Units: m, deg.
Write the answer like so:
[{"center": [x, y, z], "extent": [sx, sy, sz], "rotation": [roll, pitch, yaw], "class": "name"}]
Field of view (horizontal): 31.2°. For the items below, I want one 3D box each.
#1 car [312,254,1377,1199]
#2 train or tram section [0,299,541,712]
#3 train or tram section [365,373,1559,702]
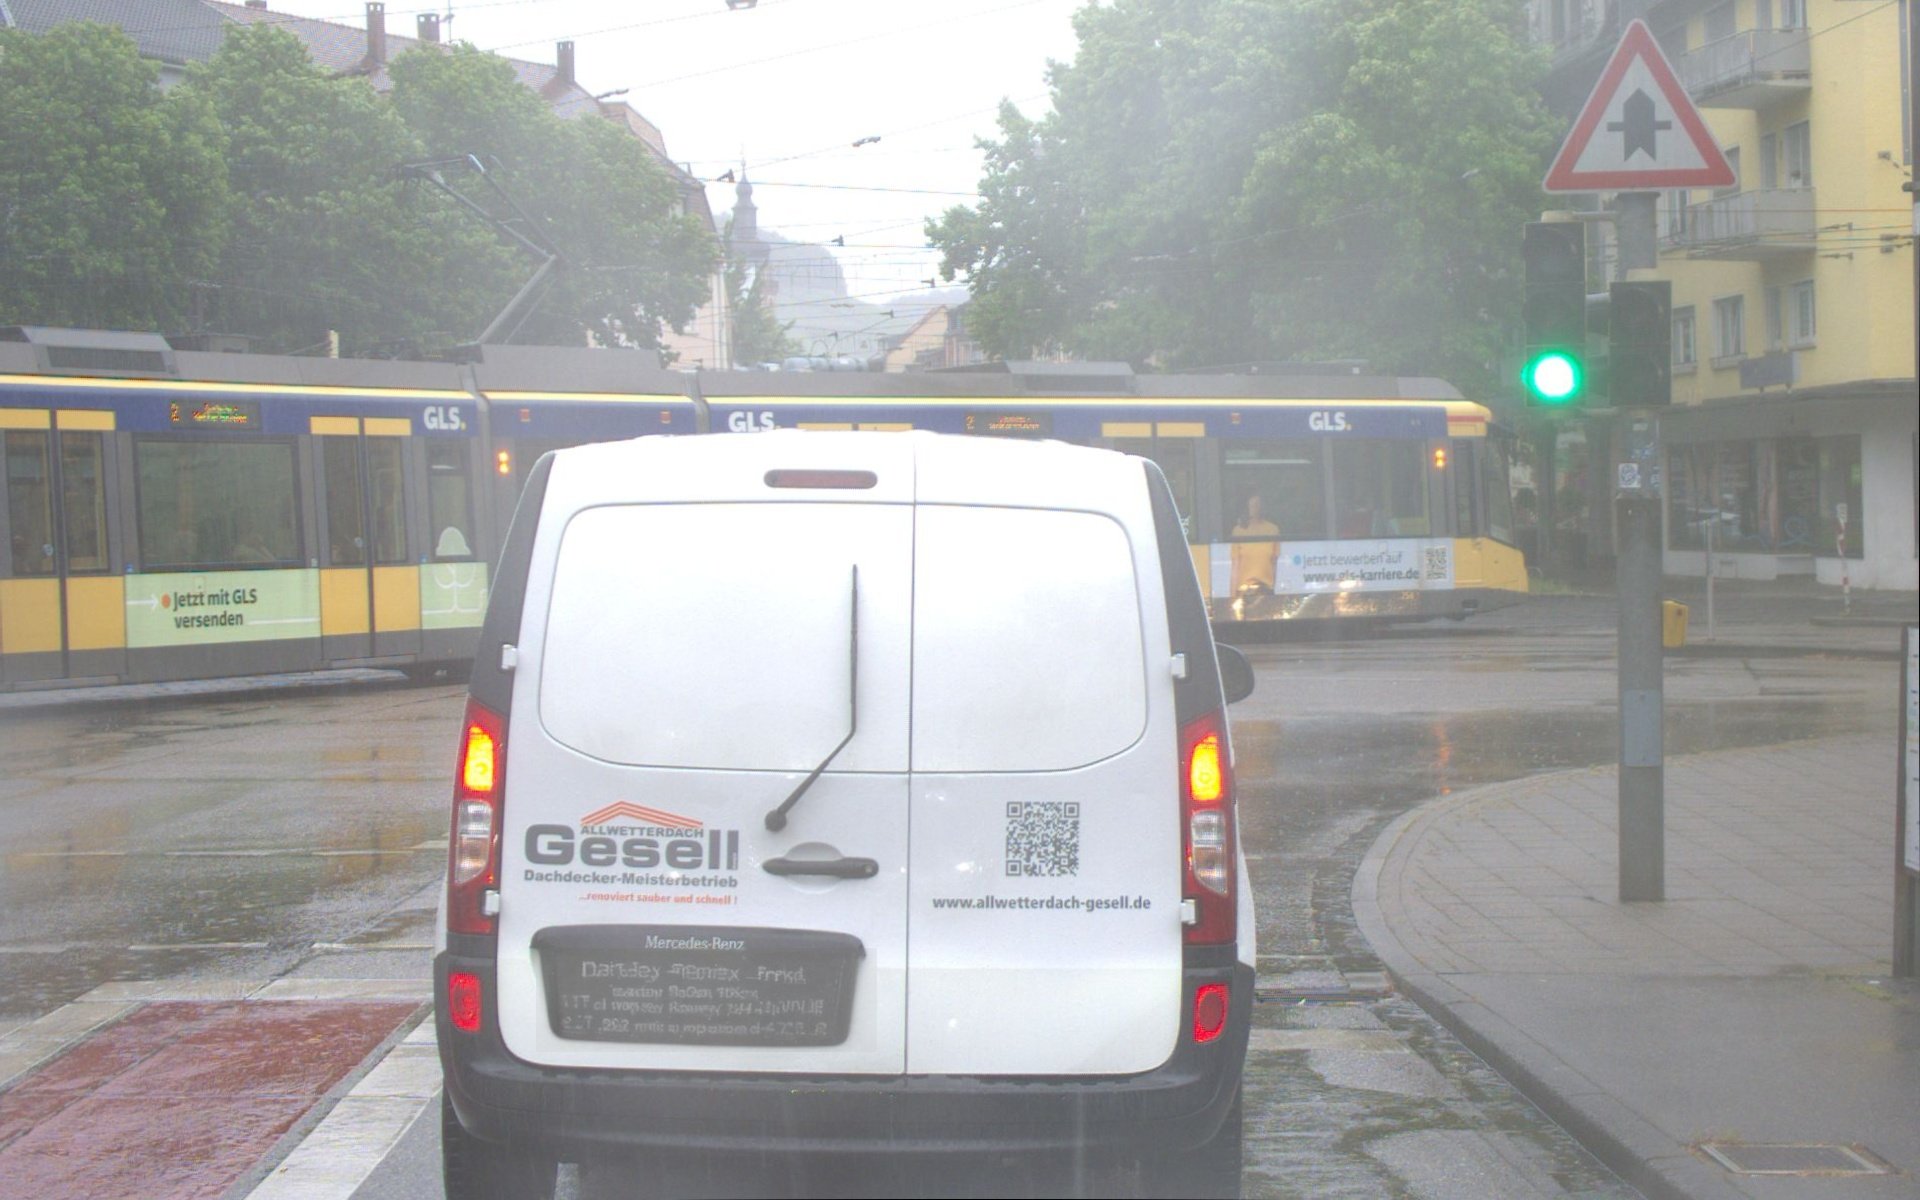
[{"center": [-0.255, 0.297, 9.302], "extent": [2.100, 2.005, 4.963], "rotation": [0, 1, -1], "class": "car"}, {"center": [-9.232, -0.842, 30.771], "extent": [3.519, 3.500, 13.637], "rotation": [2, 1, 29], "class": "train or tram section"}, {"center": [0.589, -0.644, 41.692], "extent": [15.457, 3.401, 3.551], "rotation": [0, 1, -37], "class": "train or tram section"}]
